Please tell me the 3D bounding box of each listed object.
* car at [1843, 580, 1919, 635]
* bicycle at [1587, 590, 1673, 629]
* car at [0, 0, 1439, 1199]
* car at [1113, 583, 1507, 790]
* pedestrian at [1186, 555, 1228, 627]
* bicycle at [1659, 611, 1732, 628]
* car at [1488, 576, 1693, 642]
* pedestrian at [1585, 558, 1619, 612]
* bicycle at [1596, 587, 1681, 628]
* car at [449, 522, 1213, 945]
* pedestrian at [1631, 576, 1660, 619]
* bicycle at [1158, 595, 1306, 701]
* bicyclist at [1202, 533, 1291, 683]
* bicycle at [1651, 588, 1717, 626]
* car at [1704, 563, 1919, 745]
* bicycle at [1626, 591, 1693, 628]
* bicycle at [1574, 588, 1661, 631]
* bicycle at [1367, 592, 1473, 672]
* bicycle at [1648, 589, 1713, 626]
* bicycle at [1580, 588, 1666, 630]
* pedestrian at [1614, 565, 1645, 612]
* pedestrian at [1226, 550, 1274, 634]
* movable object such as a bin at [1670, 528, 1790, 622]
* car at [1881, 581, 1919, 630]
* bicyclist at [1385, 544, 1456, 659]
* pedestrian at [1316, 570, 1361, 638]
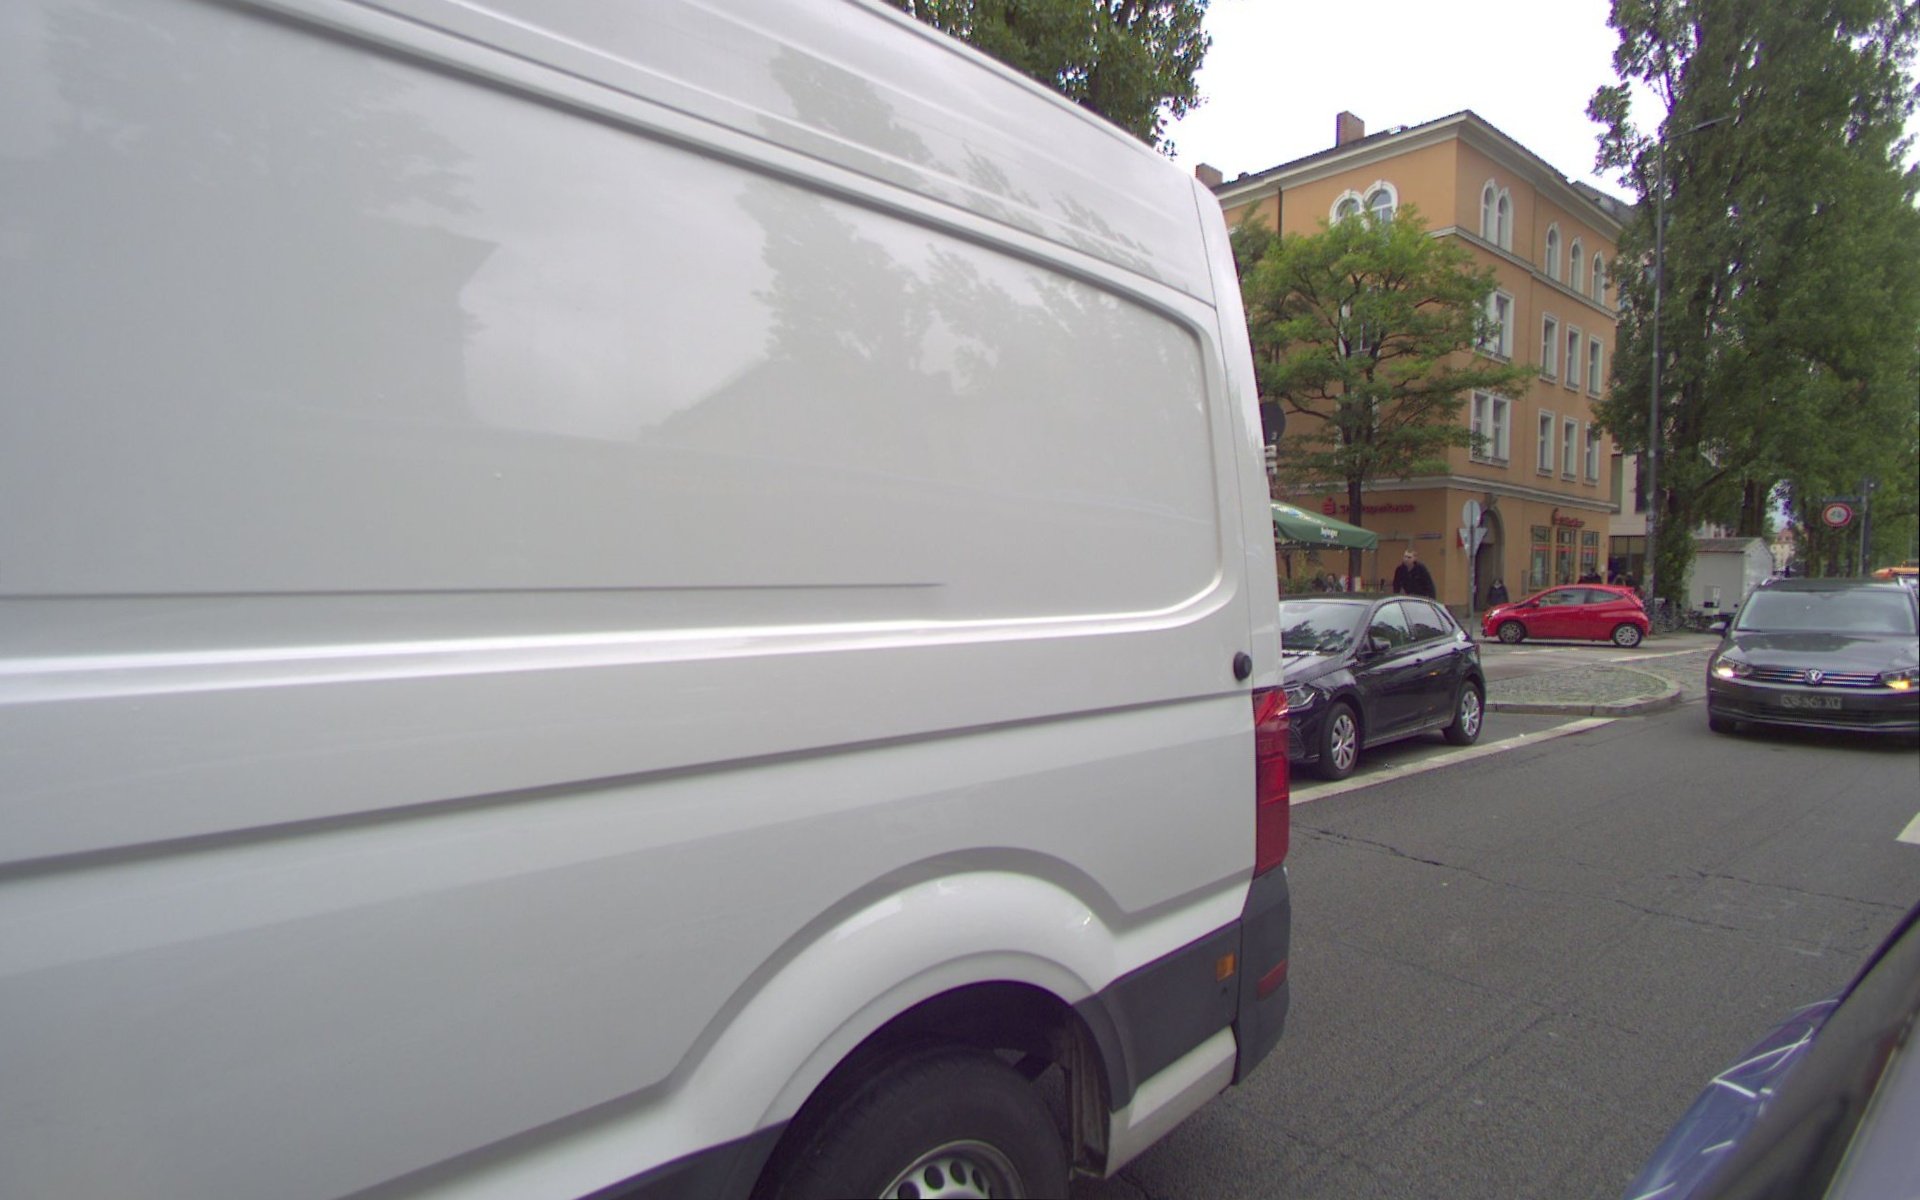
[{"bbox_3d":[28.475,0.183,30.855,4.421,1.572,1.787,-1,1,-42],"label":"car"},{"bbox_3d":[19.086,0.244,28.858,0.551,1.022,1.945,0,2,-39],"label":"bicycle"},{"bbox_3d":[-2.088,0.155,0.945,6.612,2.524,2.067,0,1,-41],"label":"car"},{"bbox_3d":[3.272,0.585,9.081,3.884,1.434,1.696,-1,2,-43],"label":"car"},{"bbox_3d":[5.559,-0.198,22.790,0.564,1.590,0.699,-1,0,-38],"label":"pedestrian"},{"bbox_3d":[21.871,0.580,30.096,1.671,0.378,0.818,4,3,42],"label":"bicycle"},{"bbox_3d":[14.752,0.165,23.859,3.973,1.451,1.599,1,1,33],"label":"car"},{"bbox_3d":[23.779,-0.544,37.480,0.787,1.973,0.839,-1,0,-38],"label":"pedestrian"},{"bbox_3d":[19.641,0.206,29.340,0.551,1.098,1.945,0,2,-39],"label":"bicycle"},{"bbox_3d":[-0.476,0.485,6.121,4.372,1.658,1.805,-1,1,-42],"label":"car"},{"bbox_3d":[25.950,-0.100,38.326,0.603,1.590,0.746,-1,0,-38],"label":"pedestrian"},{"bbox_3d":[3.321,0.524,12.246,0.884,1.134,2.070,2,2,42],"label":"bicycle"},{"bbox_3d":[3.535,0.083,12.496,0.828,1.779,0.657,2,1,42],"label":"bicyclist"},{"bbox_3d":[22.117,0.197,30.943,1.588,1.098,0.339,2,1,28],"label":"bicycle"},{"bbox_3d":[9.483,0.452,10.867,1.878,1.611,4.126,1,1,44],"label":"car"},{"bbox_3d":[20.840,0.276,30.179,1.597,1.022,0.337,2,2,43],"label":"bicycle"},{"bbox_3d":[18.128,0.252,27.940,0.551,1.102,1.945,0,2,-39],"label":"bicycle"},{"bbox_3d":[7.126,0.454,15.640,2.066,1.134,0.736,-1,2,-43],"label":"bicycle"},{"bbox_3d":[22.258,0.217,31.279,1.593,1.098,0.319,2,1,28],"label":"bicycle"},{"bbox_3d":[18.634,0.235,28.472,0.551,1.089,1.945,0,2,-39],"label":"bicycle"},{"bbox_3d":[24.506,-0.434,37.052,0.758,1.681,0.745,-1,0,-41],"label":"pedestrian"},{"bbox_3d":[6.284,-0.183,21.928,0.719,1.788,0.699,-1,0,-38],"label":"pedestrian"},{"bbox_3d":[27.801,-0.923,36.514,4.463,3.175,2.445,0,3,-40],"label":"movable object such as a bin"},{"bbox_3d":[33.918,0.160,35.589,4.421,1.634,1.787,-1,1,-42],"label":"car"},{"bbox_3d":[7.090,0.006,15.588,0.736,1.708,0.740,0,1,-42],"label":"bicyclist"},{"bbox_3d":[8.990,0.081,24.043,0.651,1.590,0.746,-1,0,-38],"label":"pedestrian"}]
